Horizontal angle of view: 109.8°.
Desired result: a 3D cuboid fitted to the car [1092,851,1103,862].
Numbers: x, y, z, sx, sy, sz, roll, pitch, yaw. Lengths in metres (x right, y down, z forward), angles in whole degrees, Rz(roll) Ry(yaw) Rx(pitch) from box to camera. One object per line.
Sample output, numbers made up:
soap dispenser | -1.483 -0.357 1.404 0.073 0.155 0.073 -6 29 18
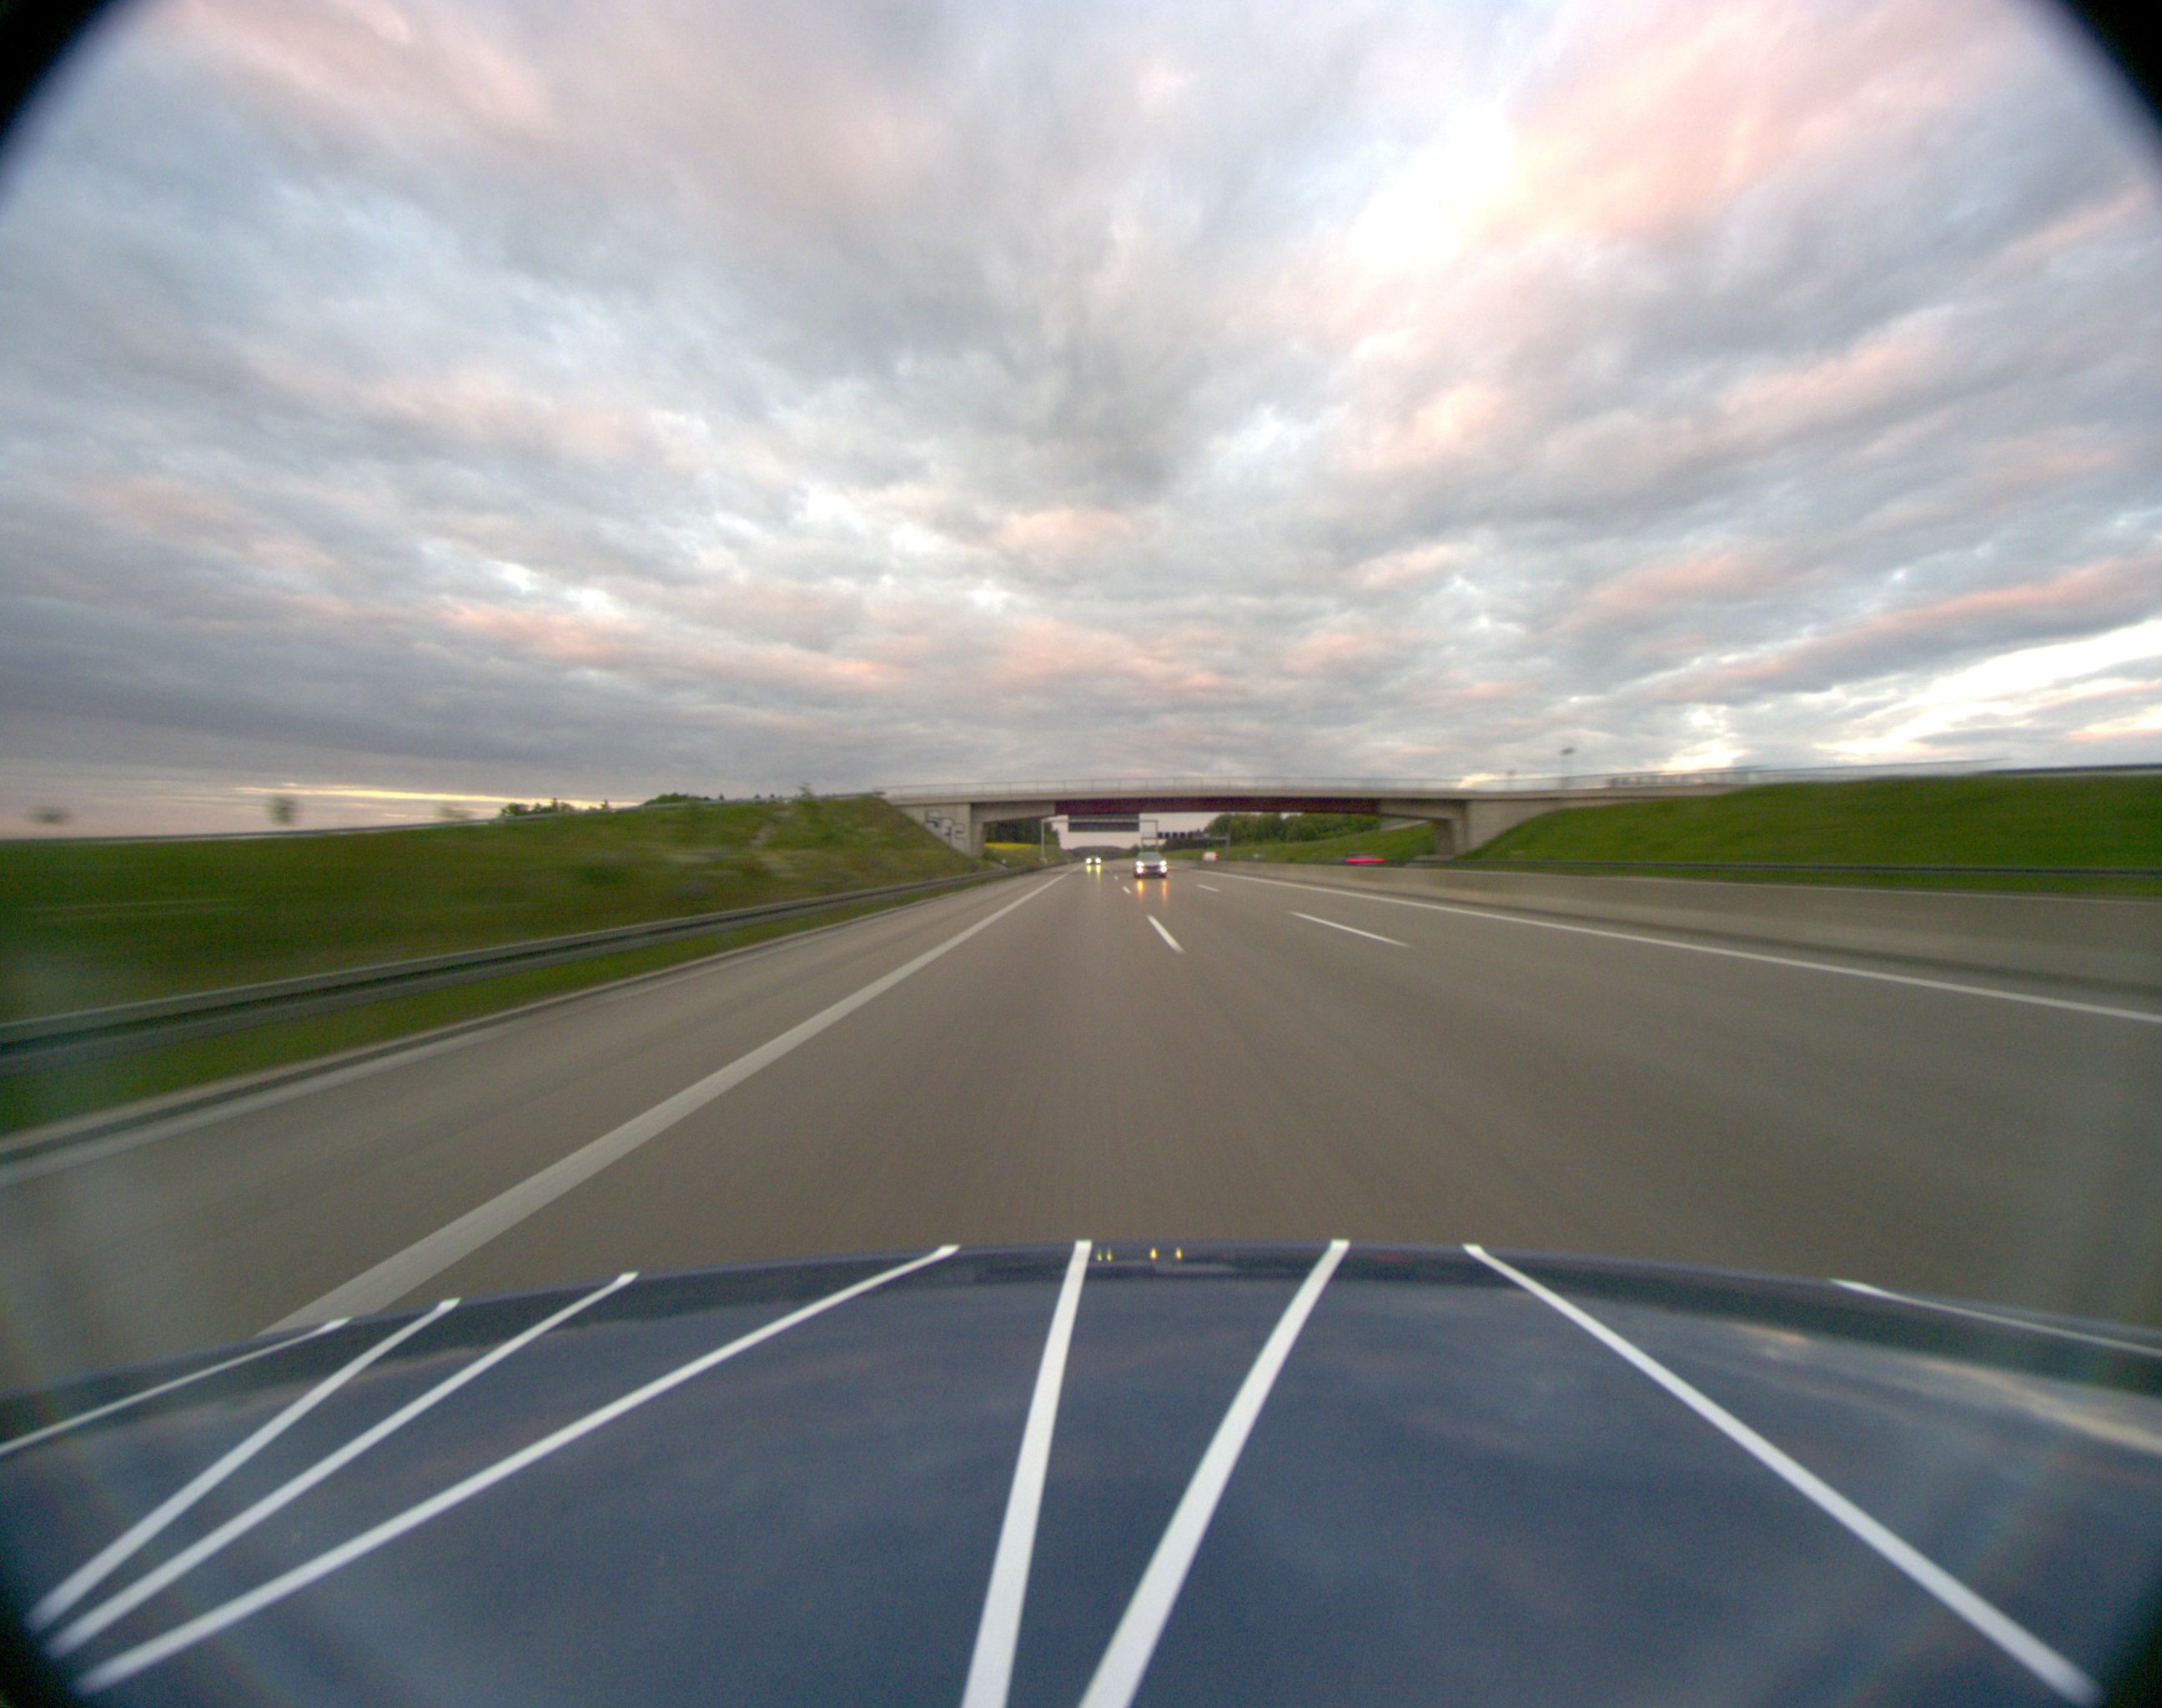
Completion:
car | 2.702 0.381 125.674 1.801 1.674 4.384 -1 1 1

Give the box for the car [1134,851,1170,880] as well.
car | 4.519 0.704 49.092 1.857 1.683 5.511 -1 1 1

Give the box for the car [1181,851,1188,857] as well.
car | 28.057 0.085 205.906 1.606 1.548 4.000 -2 0 1

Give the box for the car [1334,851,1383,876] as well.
car | 19.958 0.670 54.833 1.829 1.653 4.651 -2 0 1

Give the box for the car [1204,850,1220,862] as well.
car | 21.969 0.386 127.787 1.827 1.924 4.894 -2 0 1
